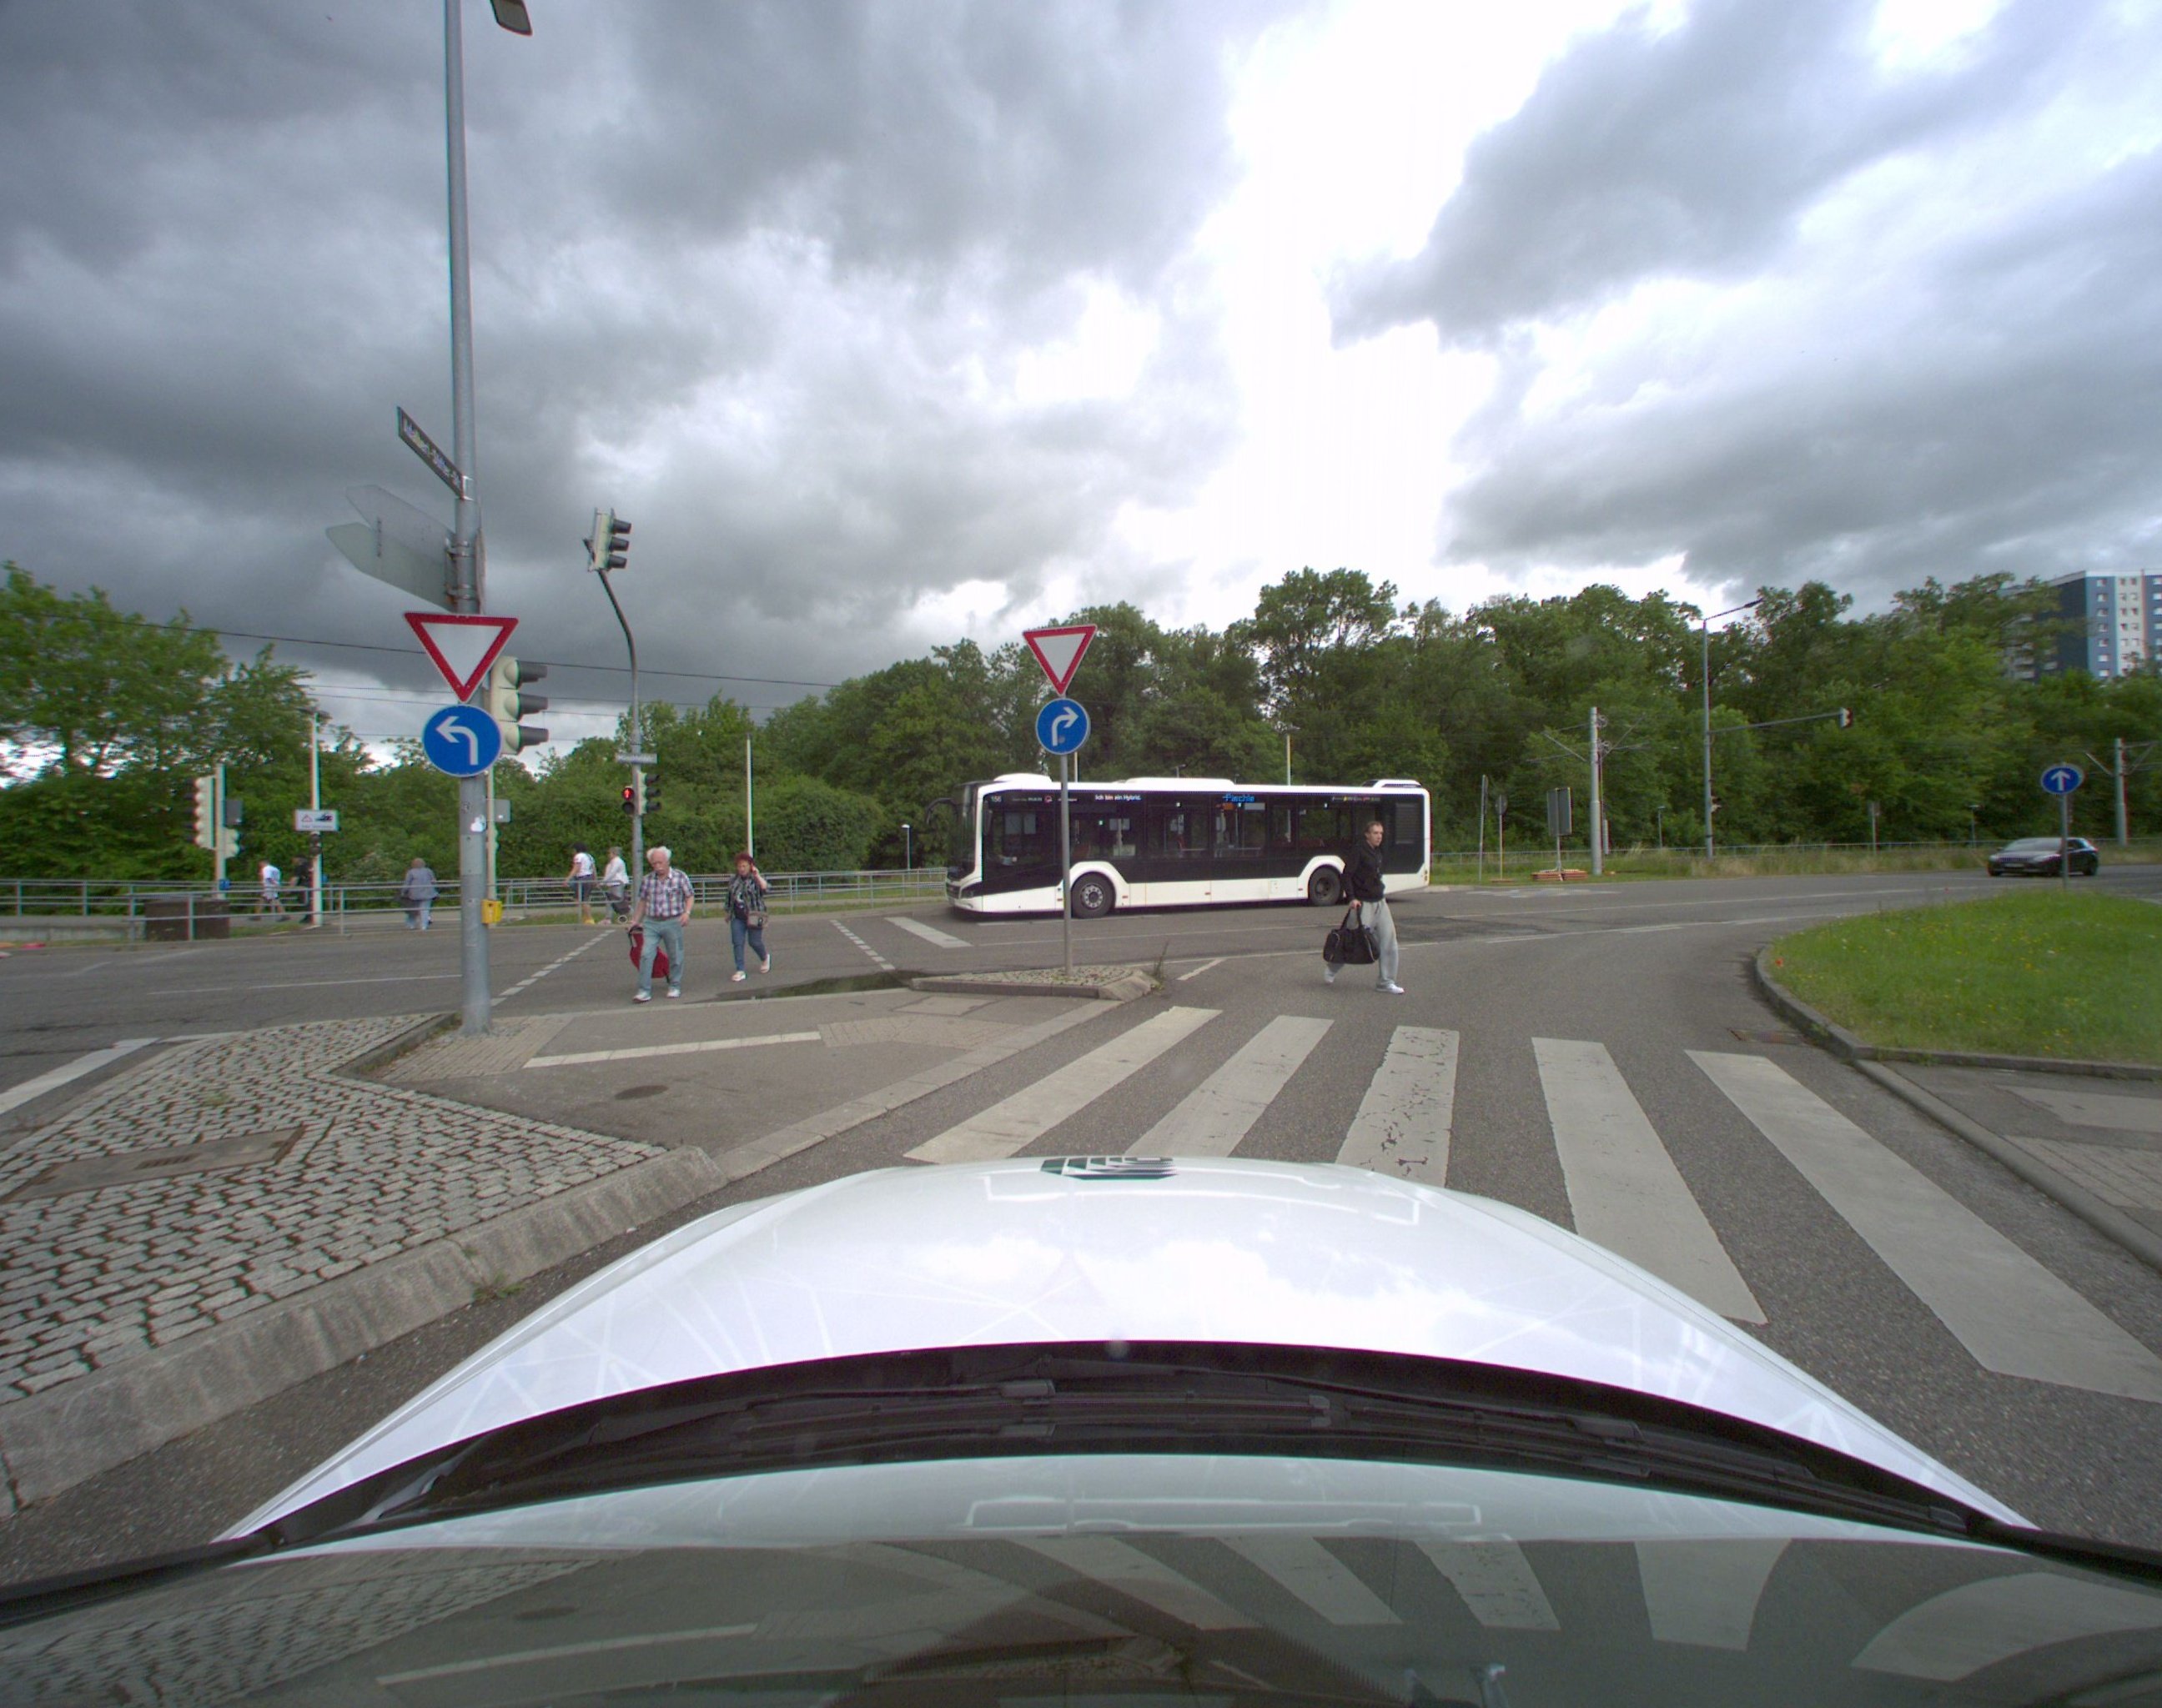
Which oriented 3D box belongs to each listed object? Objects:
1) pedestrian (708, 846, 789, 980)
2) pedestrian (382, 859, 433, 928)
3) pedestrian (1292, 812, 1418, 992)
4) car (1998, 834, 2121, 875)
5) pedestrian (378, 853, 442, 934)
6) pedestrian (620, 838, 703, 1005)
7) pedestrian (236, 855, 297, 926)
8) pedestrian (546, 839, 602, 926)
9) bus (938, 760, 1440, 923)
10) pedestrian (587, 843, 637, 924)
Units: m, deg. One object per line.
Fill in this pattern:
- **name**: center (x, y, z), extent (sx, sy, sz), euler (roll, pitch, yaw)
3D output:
- **pedestrian**: center (-4.054, 0.696, 9.980), extent (0.688, 1.567, 0.732), euler (-1, 0, -3)
- **pedestrian**: center (-16.149, 0.925, 19.550), extent (0.723, 1.621, 0.799), euler (-1, 0, -22)
- **pedestrian**: center (2.814, 0.467, 8.489), extent (0.951, 1.747, 1.062), euler (-1, 0, 1)
- **car**: center (36.607, 0.012, 30.456), extent (4.433, 1.434, 1.748), euler (-1, 0, -23)
- **pedestrian**: center (-14.978, 0.863, 18.198), extent (0.960, 1.748, 0.716), euler (0, 0, -28)
- **pedestrian**: center (-4.377, 0.676, 8.543), extent (0.700, 1.633, 0.716), euler (-2, -1, -25)
- **pedestrian**: center (-20.518, 0.913, 20.522), extent (0.946, 1.748, 0.726), euler (-1, 0, 18)
- **pedestrian**: center (-10.473, 0.567, 16.849), extent (0.721, 1.748, 0.952), euler (-1, 0, -16)
- **bus**: center (2.913, -0.347, 19.576), extent (12.206, 3.203, 2.656), euler (-1, 0, -22)
- **pedestrian**: center (-10.385, 0.639, 18.071), extent (0.721, 1.748, 0.952), euler (-1, 0, -16)
